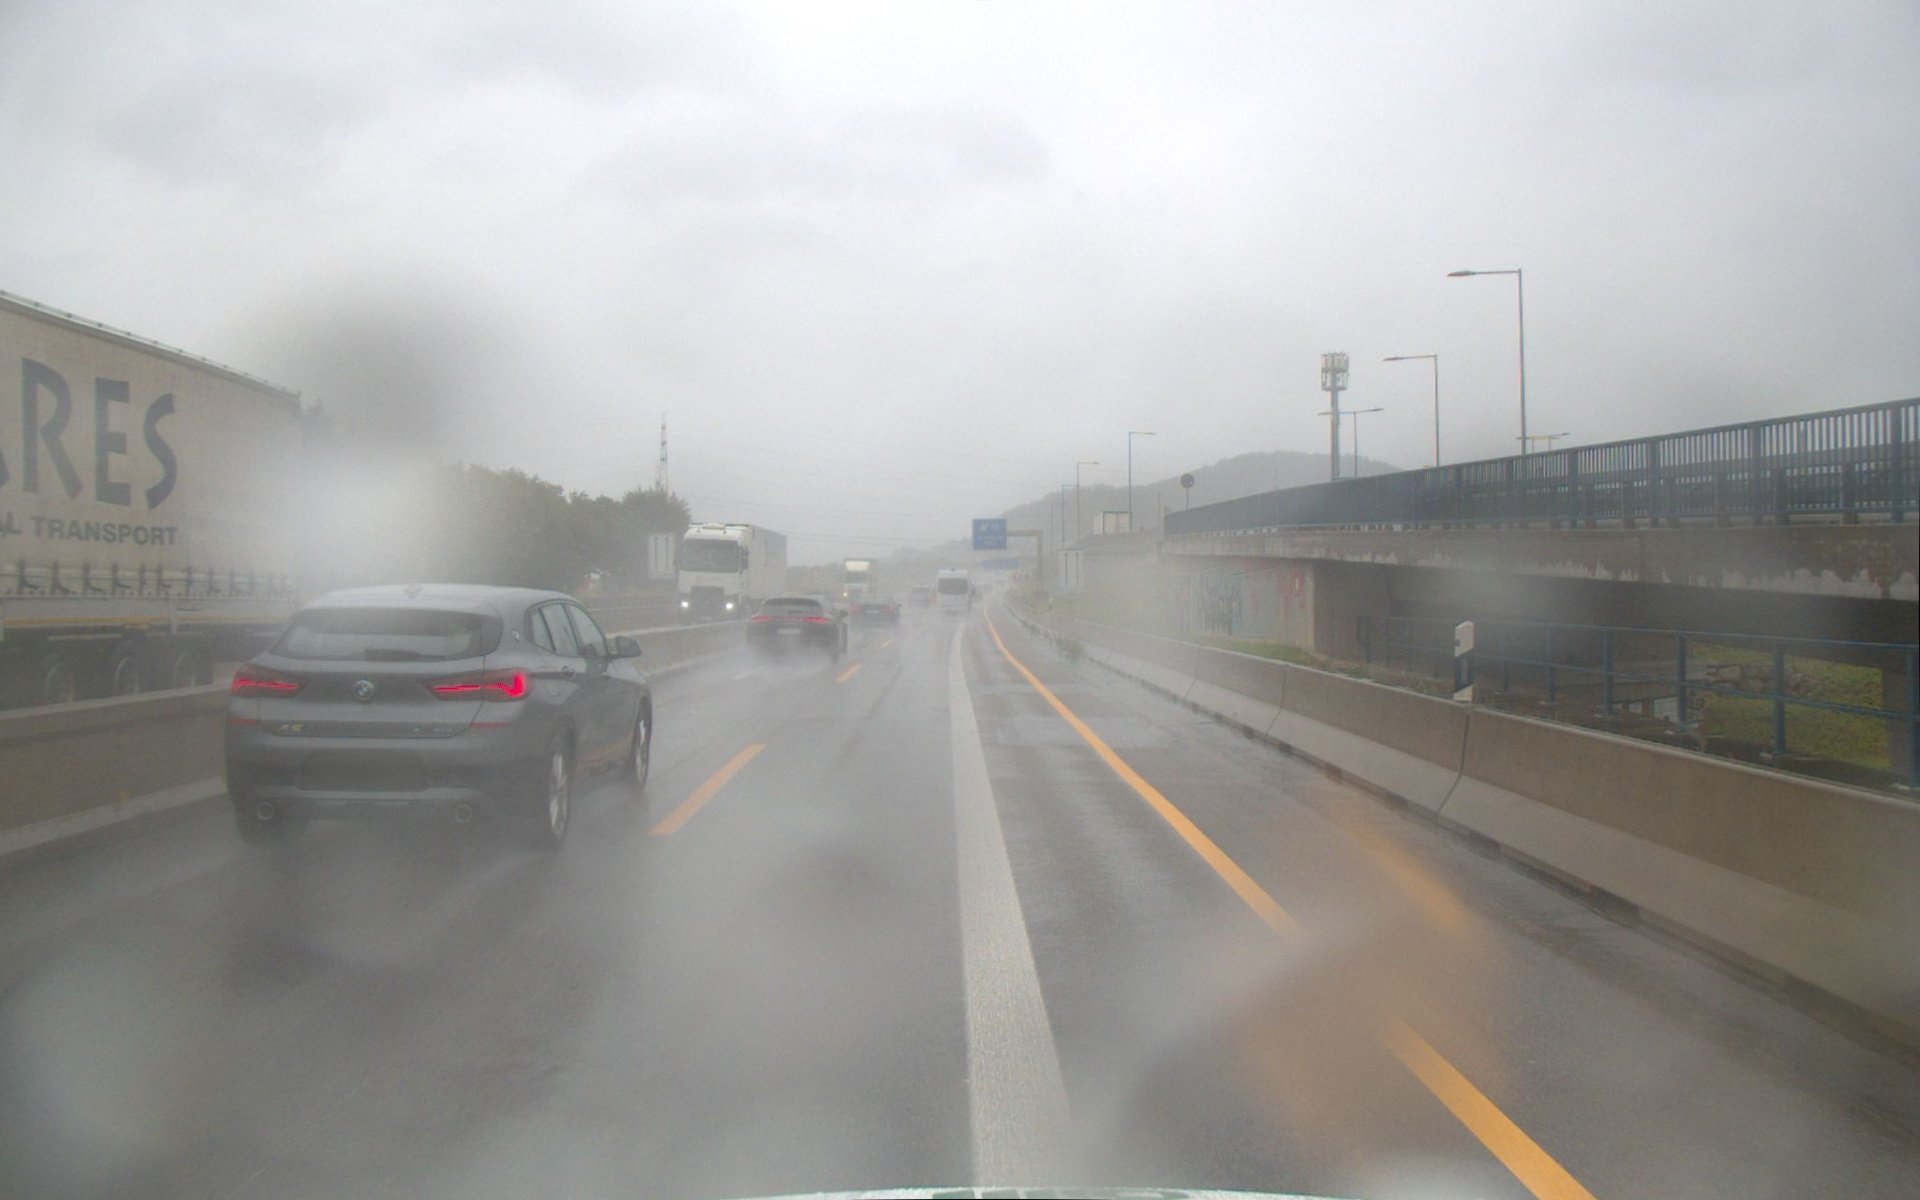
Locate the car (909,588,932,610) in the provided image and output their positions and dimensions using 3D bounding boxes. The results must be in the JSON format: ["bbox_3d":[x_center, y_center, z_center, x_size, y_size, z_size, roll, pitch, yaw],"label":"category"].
[{"bbox_3d":[-2.777,-0.067,116.676,1.535,1.506,2.820,-2,-1,-2],"label":"car"}]

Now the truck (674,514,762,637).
[{"bbox_3d":[-9.691,-0.921,66.860,2.507,4.684,6.452,1,-1,0],"label":"truck"}]

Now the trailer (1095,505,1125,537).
[{"bbox_3d":[13.823,-7.276,153.496,1.952,2.143,13.771,1,-1,2],"label":"trailer"}]

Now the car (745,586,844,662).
[{"bbox_3d":[-3.515,0.515,35.741,1.807,1.517,4.260,1,-1,-2],"label":"car"}]

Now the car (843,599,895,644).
[{"bbox_3d":[-3.361,0.769,61.821,1.807,1.517,4.260,-2,1,-2],"label":"car"}]

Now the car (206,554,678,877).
[{"bbox_3d":[-3.029,0.605,10.796,1.666,1.626,4.843,0,0,-2],"label":"car"}]

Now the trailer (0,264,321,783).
[{"bbox_3d":[-9.619,-0.662,16.191,2.434,4.521,11.193,1,-1,-1],"label":"trailer"}]

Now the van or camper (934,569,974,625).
[{"bbox_3d":[-0.325,-0.158,86.504,1.956,2.826,4.048,1,-1,-2],"label":"van or camper"}]

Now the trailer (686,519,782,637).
[{"bbox_3d":[-9.696,-0.828,72.290,2.495,4.670,12.008,1,-1,0],"label":"trailer"}]
